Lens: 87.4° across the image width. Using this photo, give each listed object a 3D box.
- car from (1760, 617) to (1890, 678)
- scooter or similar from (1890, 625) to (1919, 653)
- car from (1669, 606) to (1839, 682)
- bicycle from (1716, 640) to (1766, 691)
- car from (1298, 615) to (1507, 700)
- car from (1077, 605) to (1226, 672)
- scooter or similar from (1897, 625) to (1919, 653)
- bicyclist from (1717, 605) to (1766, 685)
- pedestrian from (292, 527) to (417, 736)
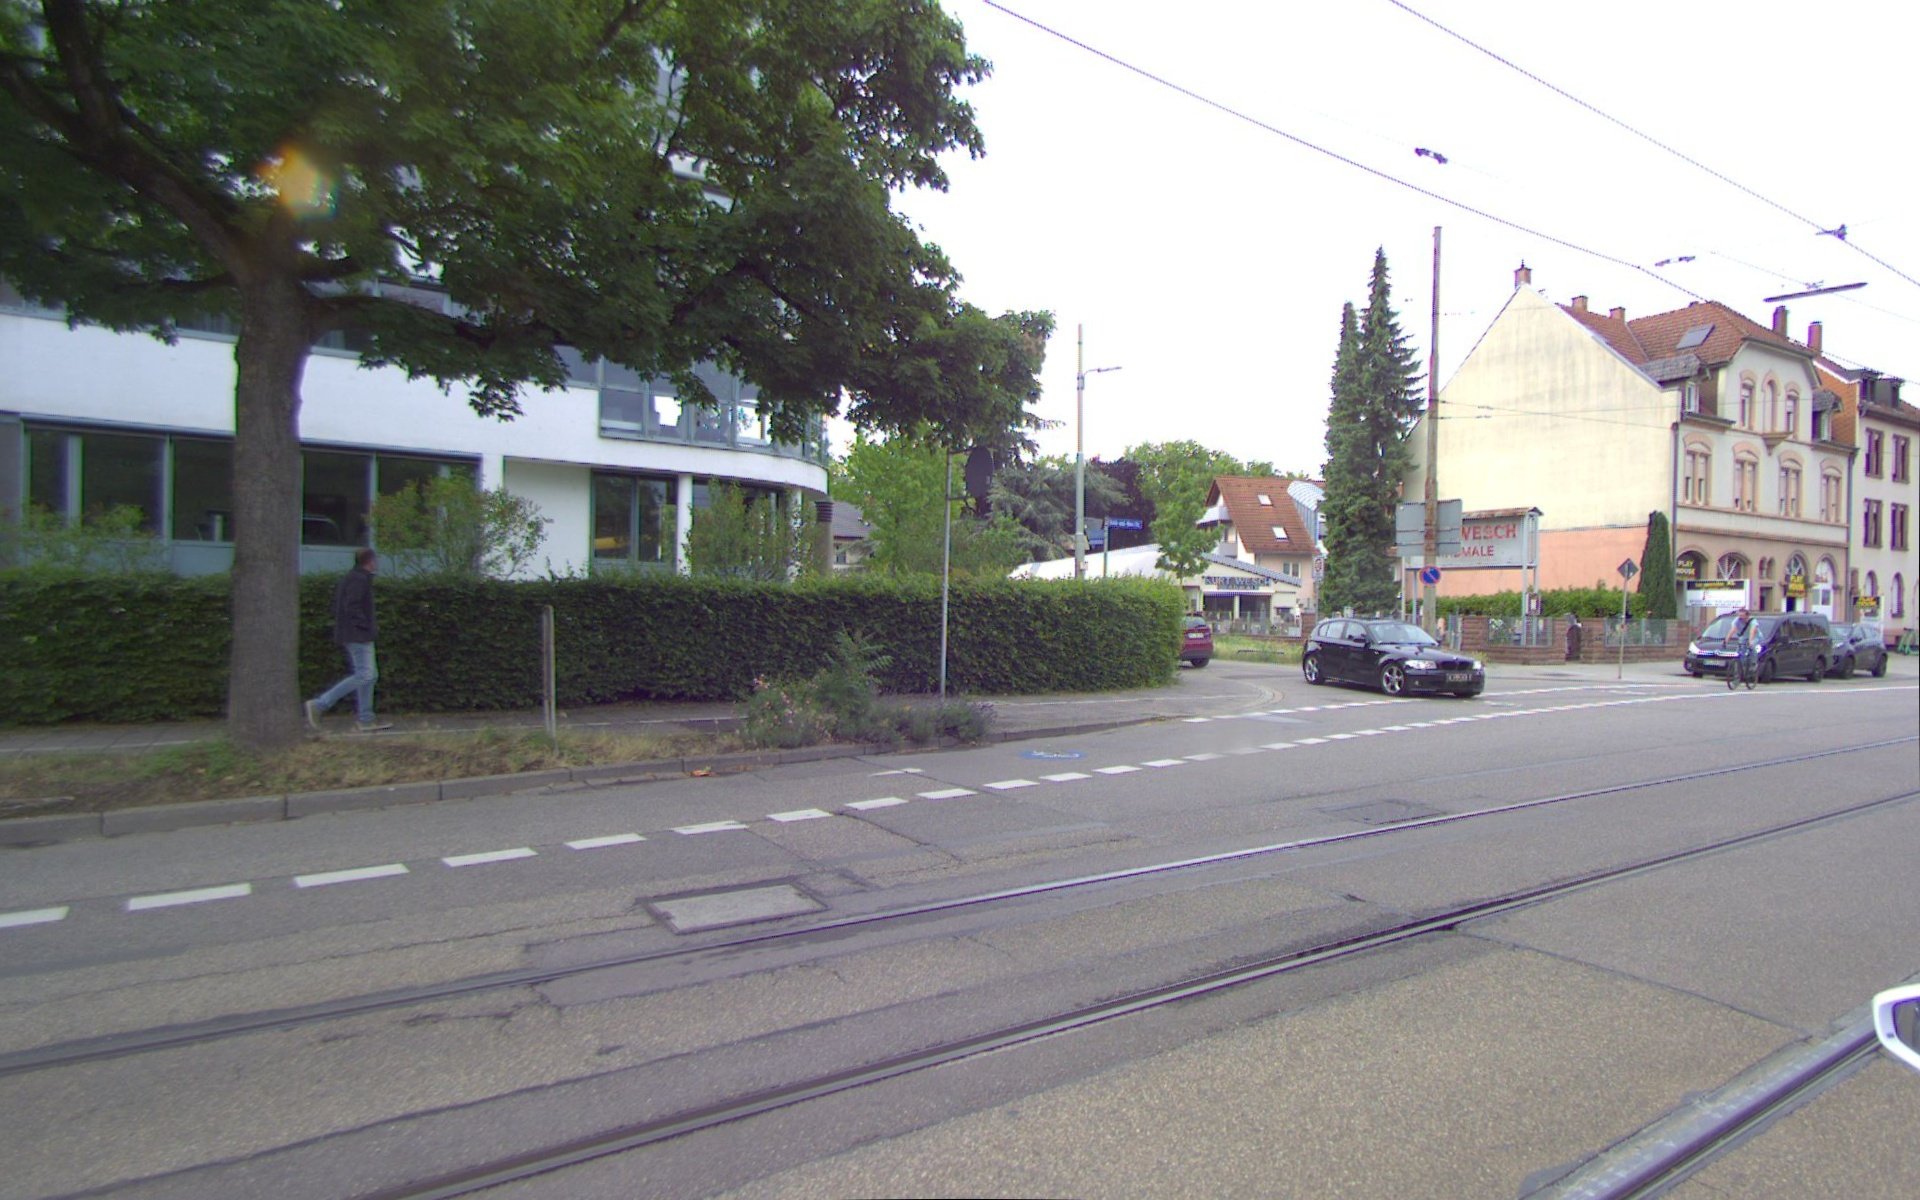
[{"bbox_3d":[27.084,1.470,31.416,4.145,1.741,1.835,2,1,-31],"label":"car"},{"bbox_3d":[42.776,1.745,45.383,1.032,1.204,0.318,2,1,26],"label":"scooter or similar"},{"bbox_3d":[22.188,1.214,28.026,4.939,1.912,1.982,2,1,-30],"label":"car"},{"bbox_3d":[17.859,1.477,22.956,1.943,1.088,0.581,2,-2,-43],"label":"bicycle"},{"bbox_3d":[8.360,1.032,19.405,1.770,1.406,3.924,1,0,-11],"label":"car"},{"bbox_3d":[4.823,0.918,25.767,1.748,1.437,3.689,-1,2,-32],"label":"car"},{"bbox_3d":[42.574,1.740,44.816,1.032,1.204,0.318,2,1,26],"label":"scooter or similar"},{"bbox_3d":[17.859,1.020,22.962,0.972,1.772,0.728,1,-2,-43],"label":"bicyclist"},{"bbox_3d":[-6.184,0.318,10.311,0.977,2.040,0.708,2,1,-26],"label":"pedestrian"}]
